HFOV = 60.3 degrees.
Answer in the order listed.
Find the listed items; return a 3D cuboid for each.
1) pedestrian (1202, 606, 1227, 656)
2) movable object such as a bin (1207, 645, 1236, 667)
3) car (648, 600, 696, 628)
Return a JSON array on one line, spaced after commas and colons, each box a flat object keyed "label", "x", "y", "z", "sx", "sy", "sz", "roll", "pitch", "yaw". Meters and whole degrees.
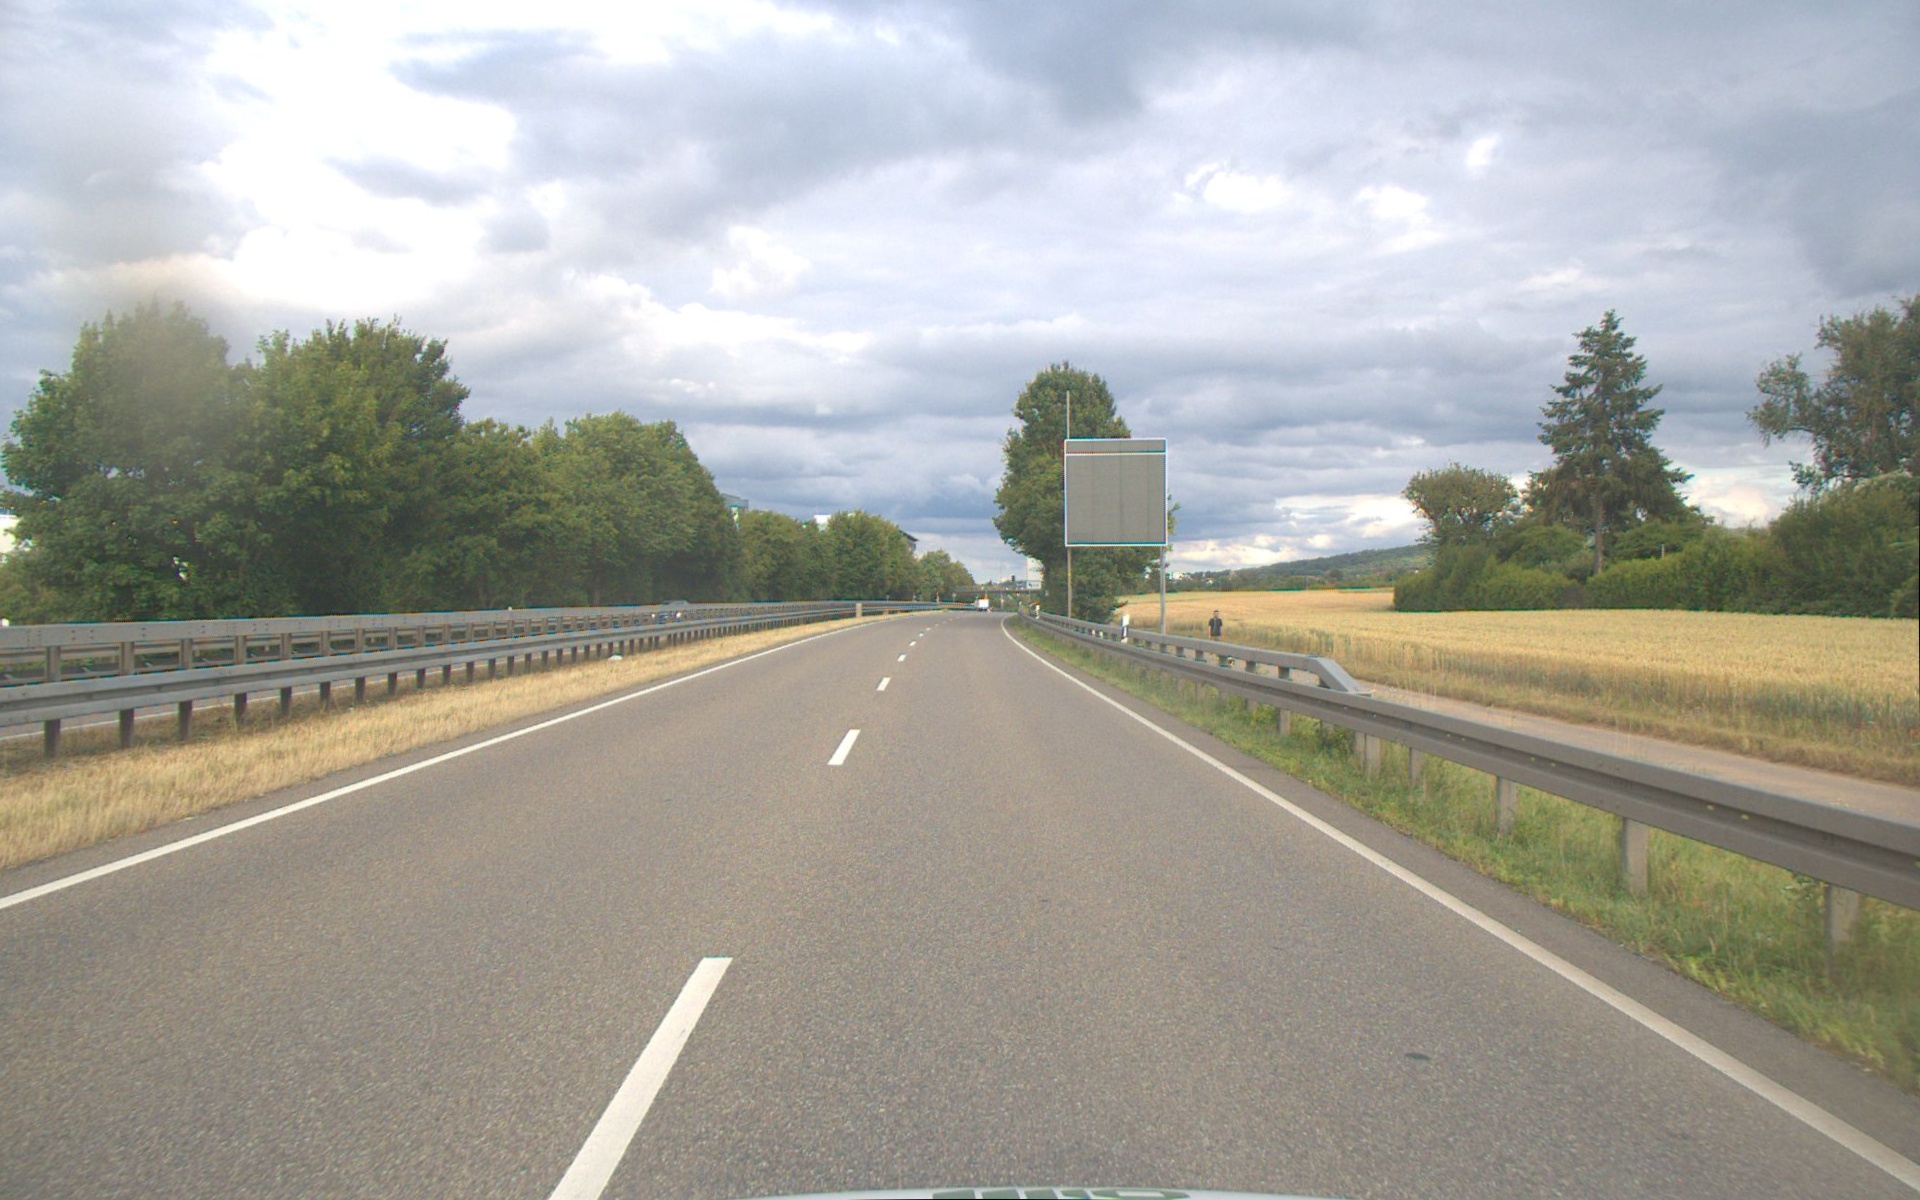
[{"label": "pedestrian", "x": 9.836, "y": 1.195, "z": 63.975, "sx": 0.755, "sy": 1.900, "sz": 0.940, "roll": 2, "pitch": -1, "yaw": -1}, {"label": "movable object such as a bin", "x": 8.637, "y": 1.853, "z": 54.664, "sx": 0.717, "sy": 0.657, "sz": 1.235, "roll": 2, "pitch": 0, "yaw": -1}, {"label": "car", "x": -14.920, "y": 0.706, "z": 85.807, "sx": 1.745, "sy": 1.375, "sz": 4.576, "roll": -1, "pitch": 0, "yaw": -1}]
